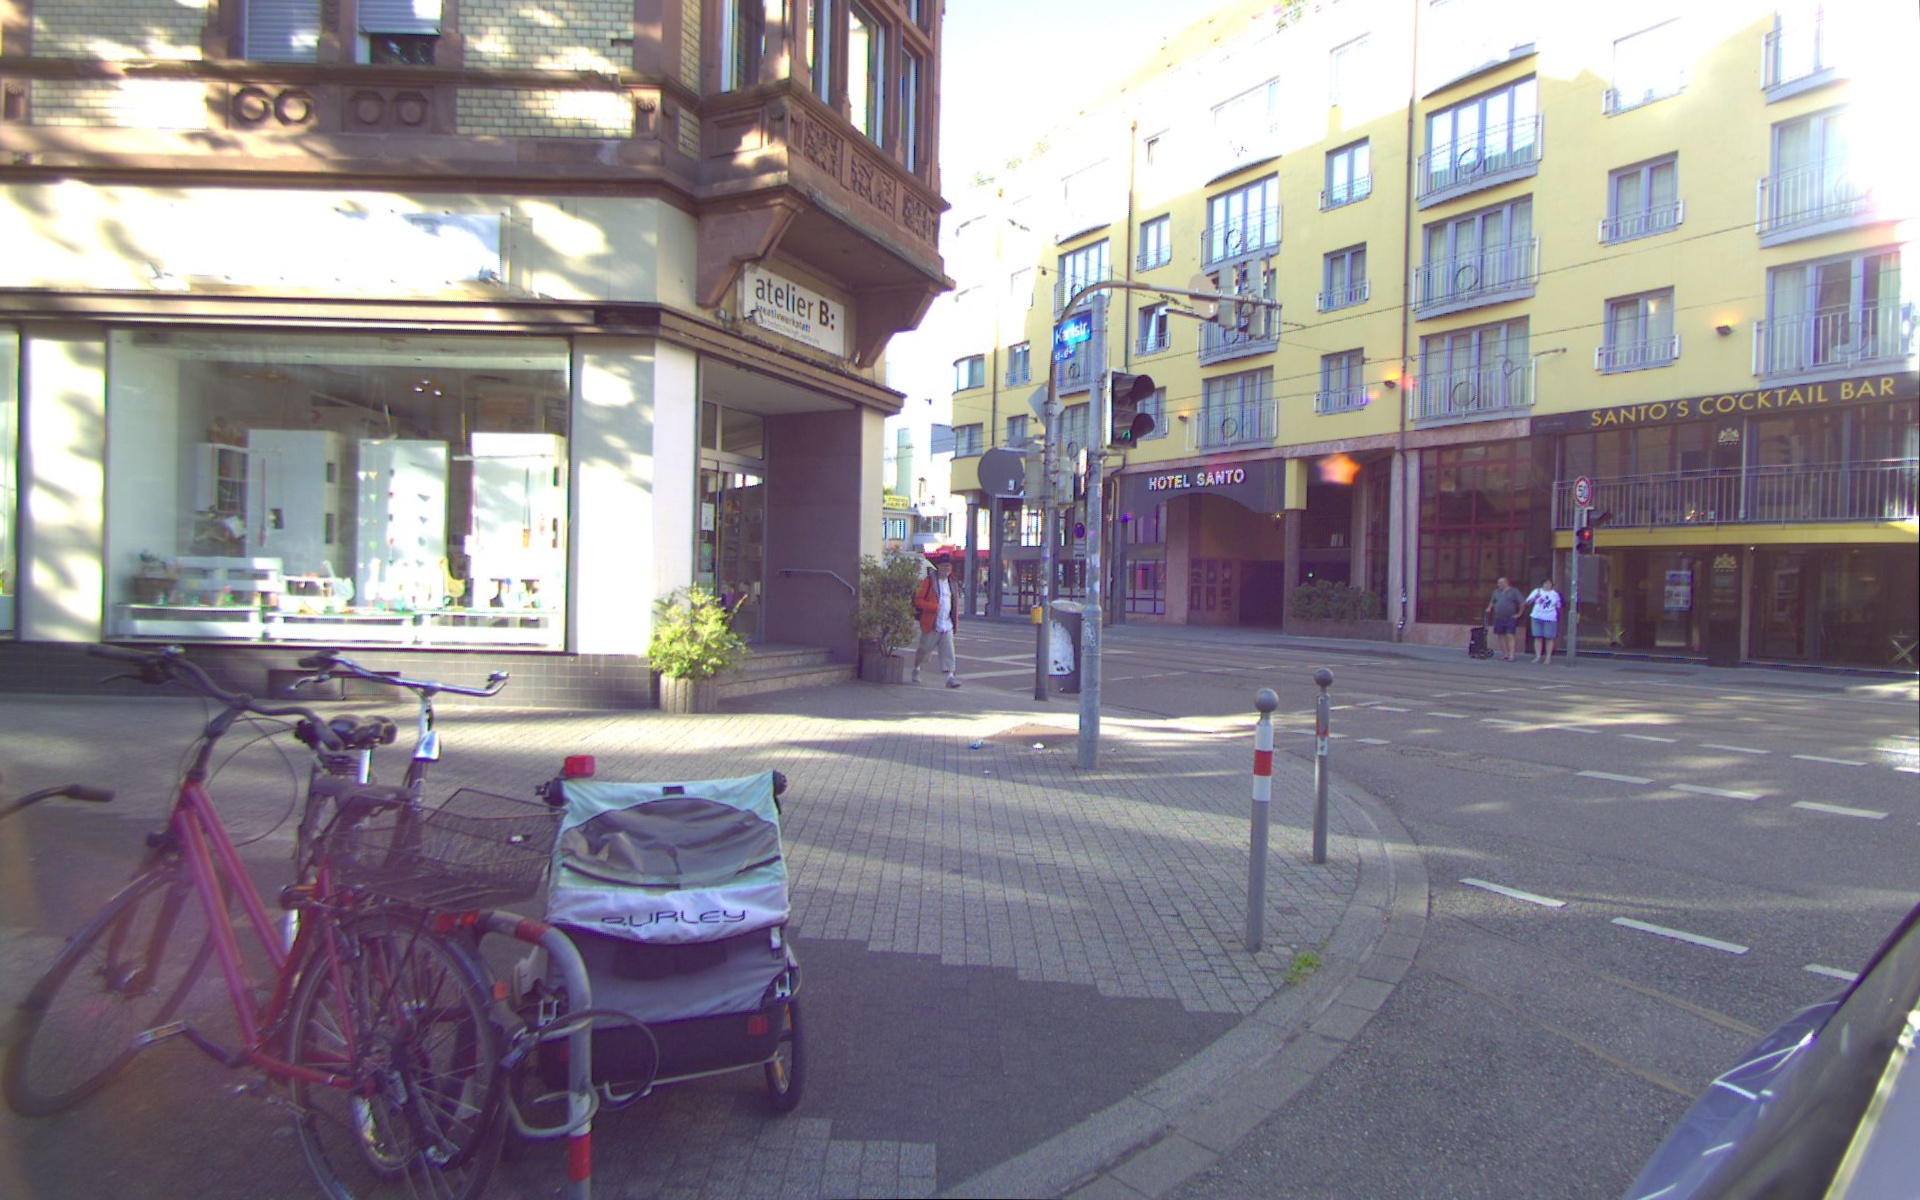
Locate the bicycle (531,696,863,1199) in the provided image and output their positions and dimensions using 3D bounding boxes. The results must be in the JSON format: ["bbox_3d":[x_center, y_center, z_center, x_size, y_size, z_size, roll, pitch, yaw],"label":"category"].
[{"bbox_3d":[-0.764,0.849,2.776,0.723,1.039,1.001,1,1,-22],"label":"bicycle"}]

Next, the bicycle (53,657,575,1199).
[{"bbox_3d":[-1.589,0.765,2.425,1.465,1.106,0.421,3,4,30],"label":"bicycle"}]

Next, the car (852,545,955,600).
[{"bbox_3d":[-2.972,-1.439,53.739,5.049,2.792,2.061,1,1,-34],"label":"car"}]

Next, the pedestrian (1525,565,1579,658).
[{"bbox_3d":[12.330,0.218,21.082,0.713,1.862,0.735,-3,3,-35],"label":"pedestrian"}]

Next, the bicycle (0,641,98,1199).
[{"bbox_3d":[-2.327,0.752,2.340,0.417,1.106,1.935,-2,5,-39],"label":"bicycle"}]

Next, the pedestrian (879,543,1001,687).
[{"bbox_3d":[-0.247,0.155,12.730,1.164,1.701,0.997,2,1,30],"label":"pedestrian"}]

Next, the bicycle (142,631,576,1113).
[{"bbox_3d":[-1.933,0.721,3.214,1.466,1.106,0.568,3,4,32],"label":"bicycle"}]

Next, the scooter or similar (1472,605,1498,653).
[{"bbox_3d":[11.512,0.629,22.176,0.415,0.989,0.357,-4,3,-37],"label":"scooter or similar"}]

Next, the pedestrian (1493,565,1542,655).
[{"bbox_3d":[12.055,0.199,21.885,0.713,1.862,0.679,-3,3,-35],"label":"pedestrian"}]
